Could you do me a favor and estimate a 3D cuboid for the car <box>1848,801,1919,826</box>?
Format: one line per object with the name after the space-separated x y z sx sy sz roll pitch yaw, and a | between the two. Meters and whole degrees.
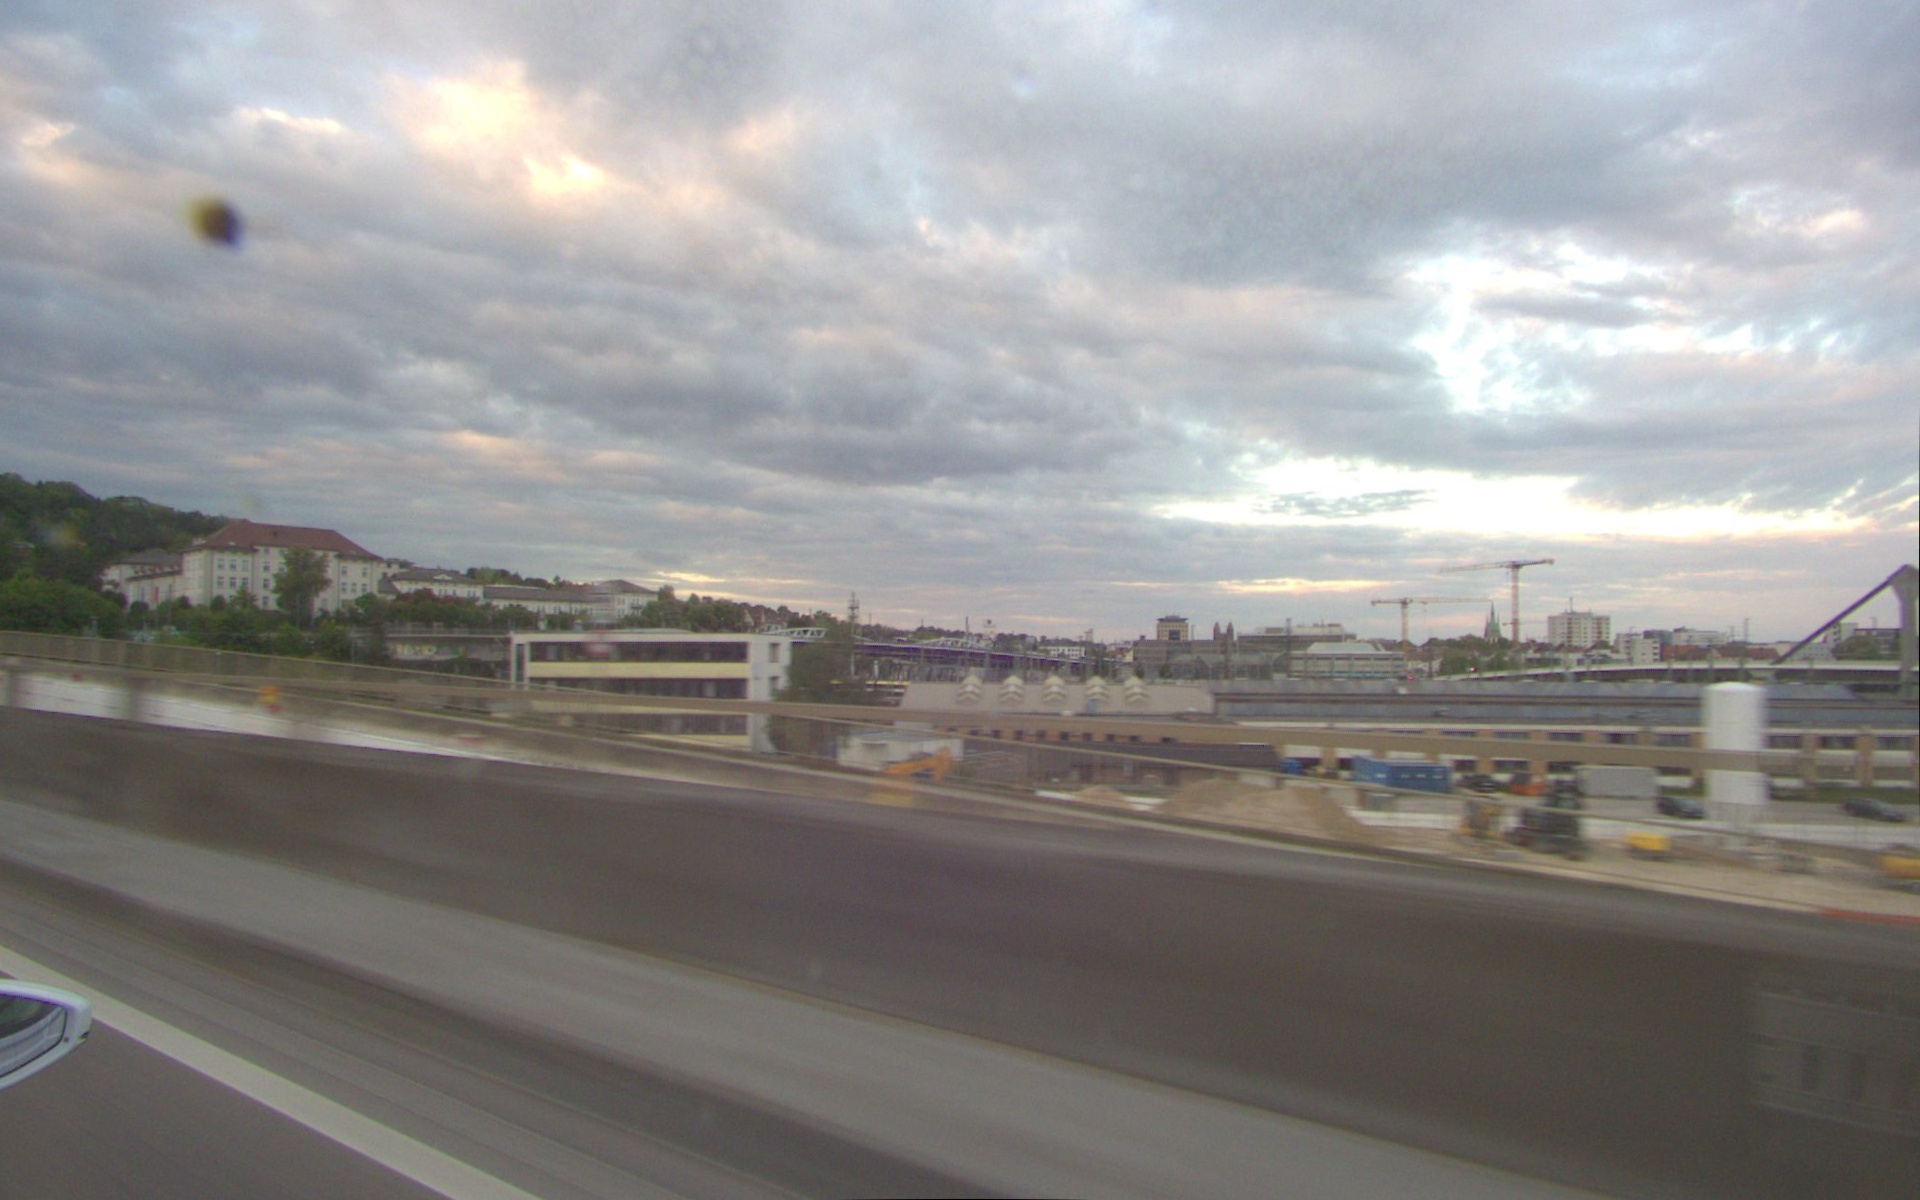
70.832 16.374 76.904 1.835 1.435 4.010 4 -7 2 | car

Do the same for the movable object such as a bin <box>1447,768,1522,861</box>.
27.954 11.318 53.571 2.735 4.356 4.961 2 -7 19 | movable object such as a bin

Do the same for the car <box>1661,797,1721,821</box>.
57.026 16.316 78.176 1.835 1.435 4.010 4 -7 2 | car

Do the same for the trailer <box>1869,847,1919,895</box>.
43.625 12.306 44.886 3.782 1.823 1.998 1 -7 27 | trailer

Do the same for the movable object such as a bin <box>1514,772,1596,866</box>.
31.633 11.543 53.420 2.735 4.356 4.961 2 -7 19 | movable object such as a bin
